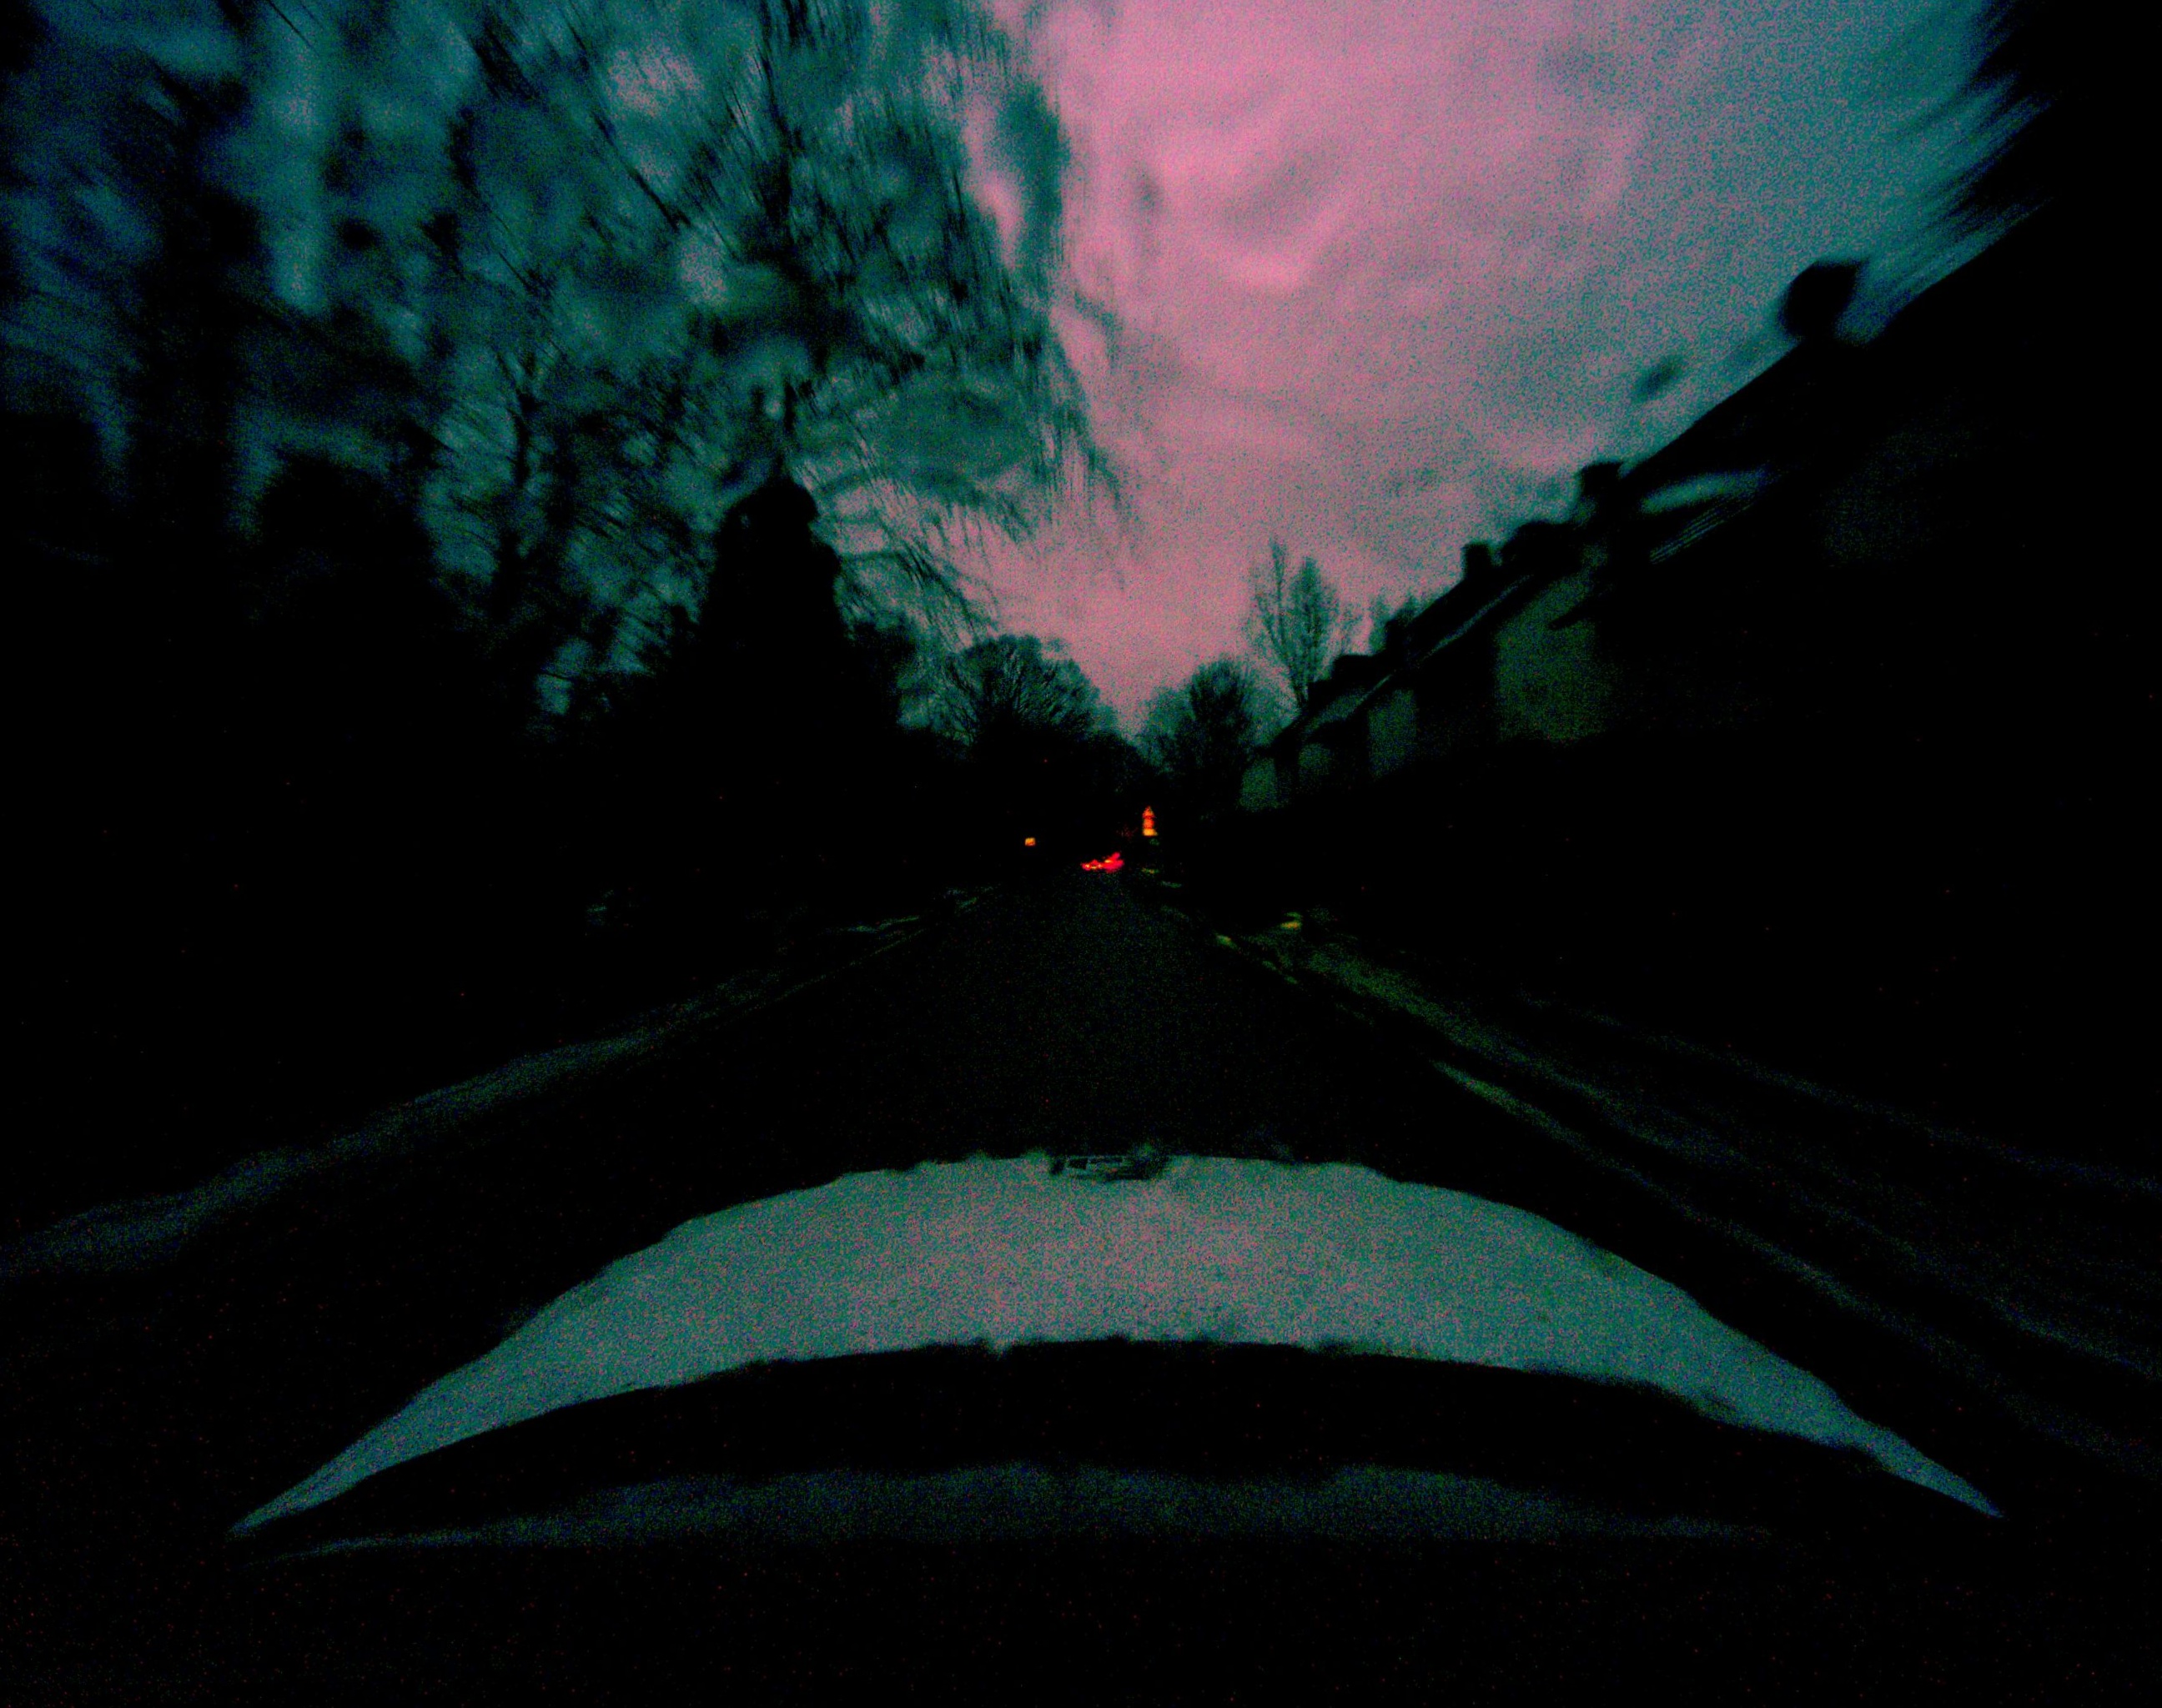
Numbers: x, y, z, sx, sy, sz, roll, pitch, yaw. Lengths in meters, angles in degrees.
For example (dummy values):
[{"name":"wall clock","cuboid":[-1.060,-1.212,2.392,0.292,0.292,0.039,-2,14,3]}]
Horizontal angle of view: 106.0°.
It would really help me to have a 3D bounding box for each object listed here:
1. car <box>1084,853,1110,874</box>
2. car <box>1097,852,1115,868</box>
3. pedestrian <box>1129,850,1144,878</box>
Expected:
[{"name":"car","cuboid":[1.508,0.858,75.574,1.923,1.781,4.008,-2,0,7]},{"name":"car","cuboid":[2.745,0.665,88.962,1.925,1.676,4.002,-2,0,2]},{"name":"pedestrian","cuboid":[3.389,0.582,49.760,0.741,1.655,0.970,-2,0,0]}]
